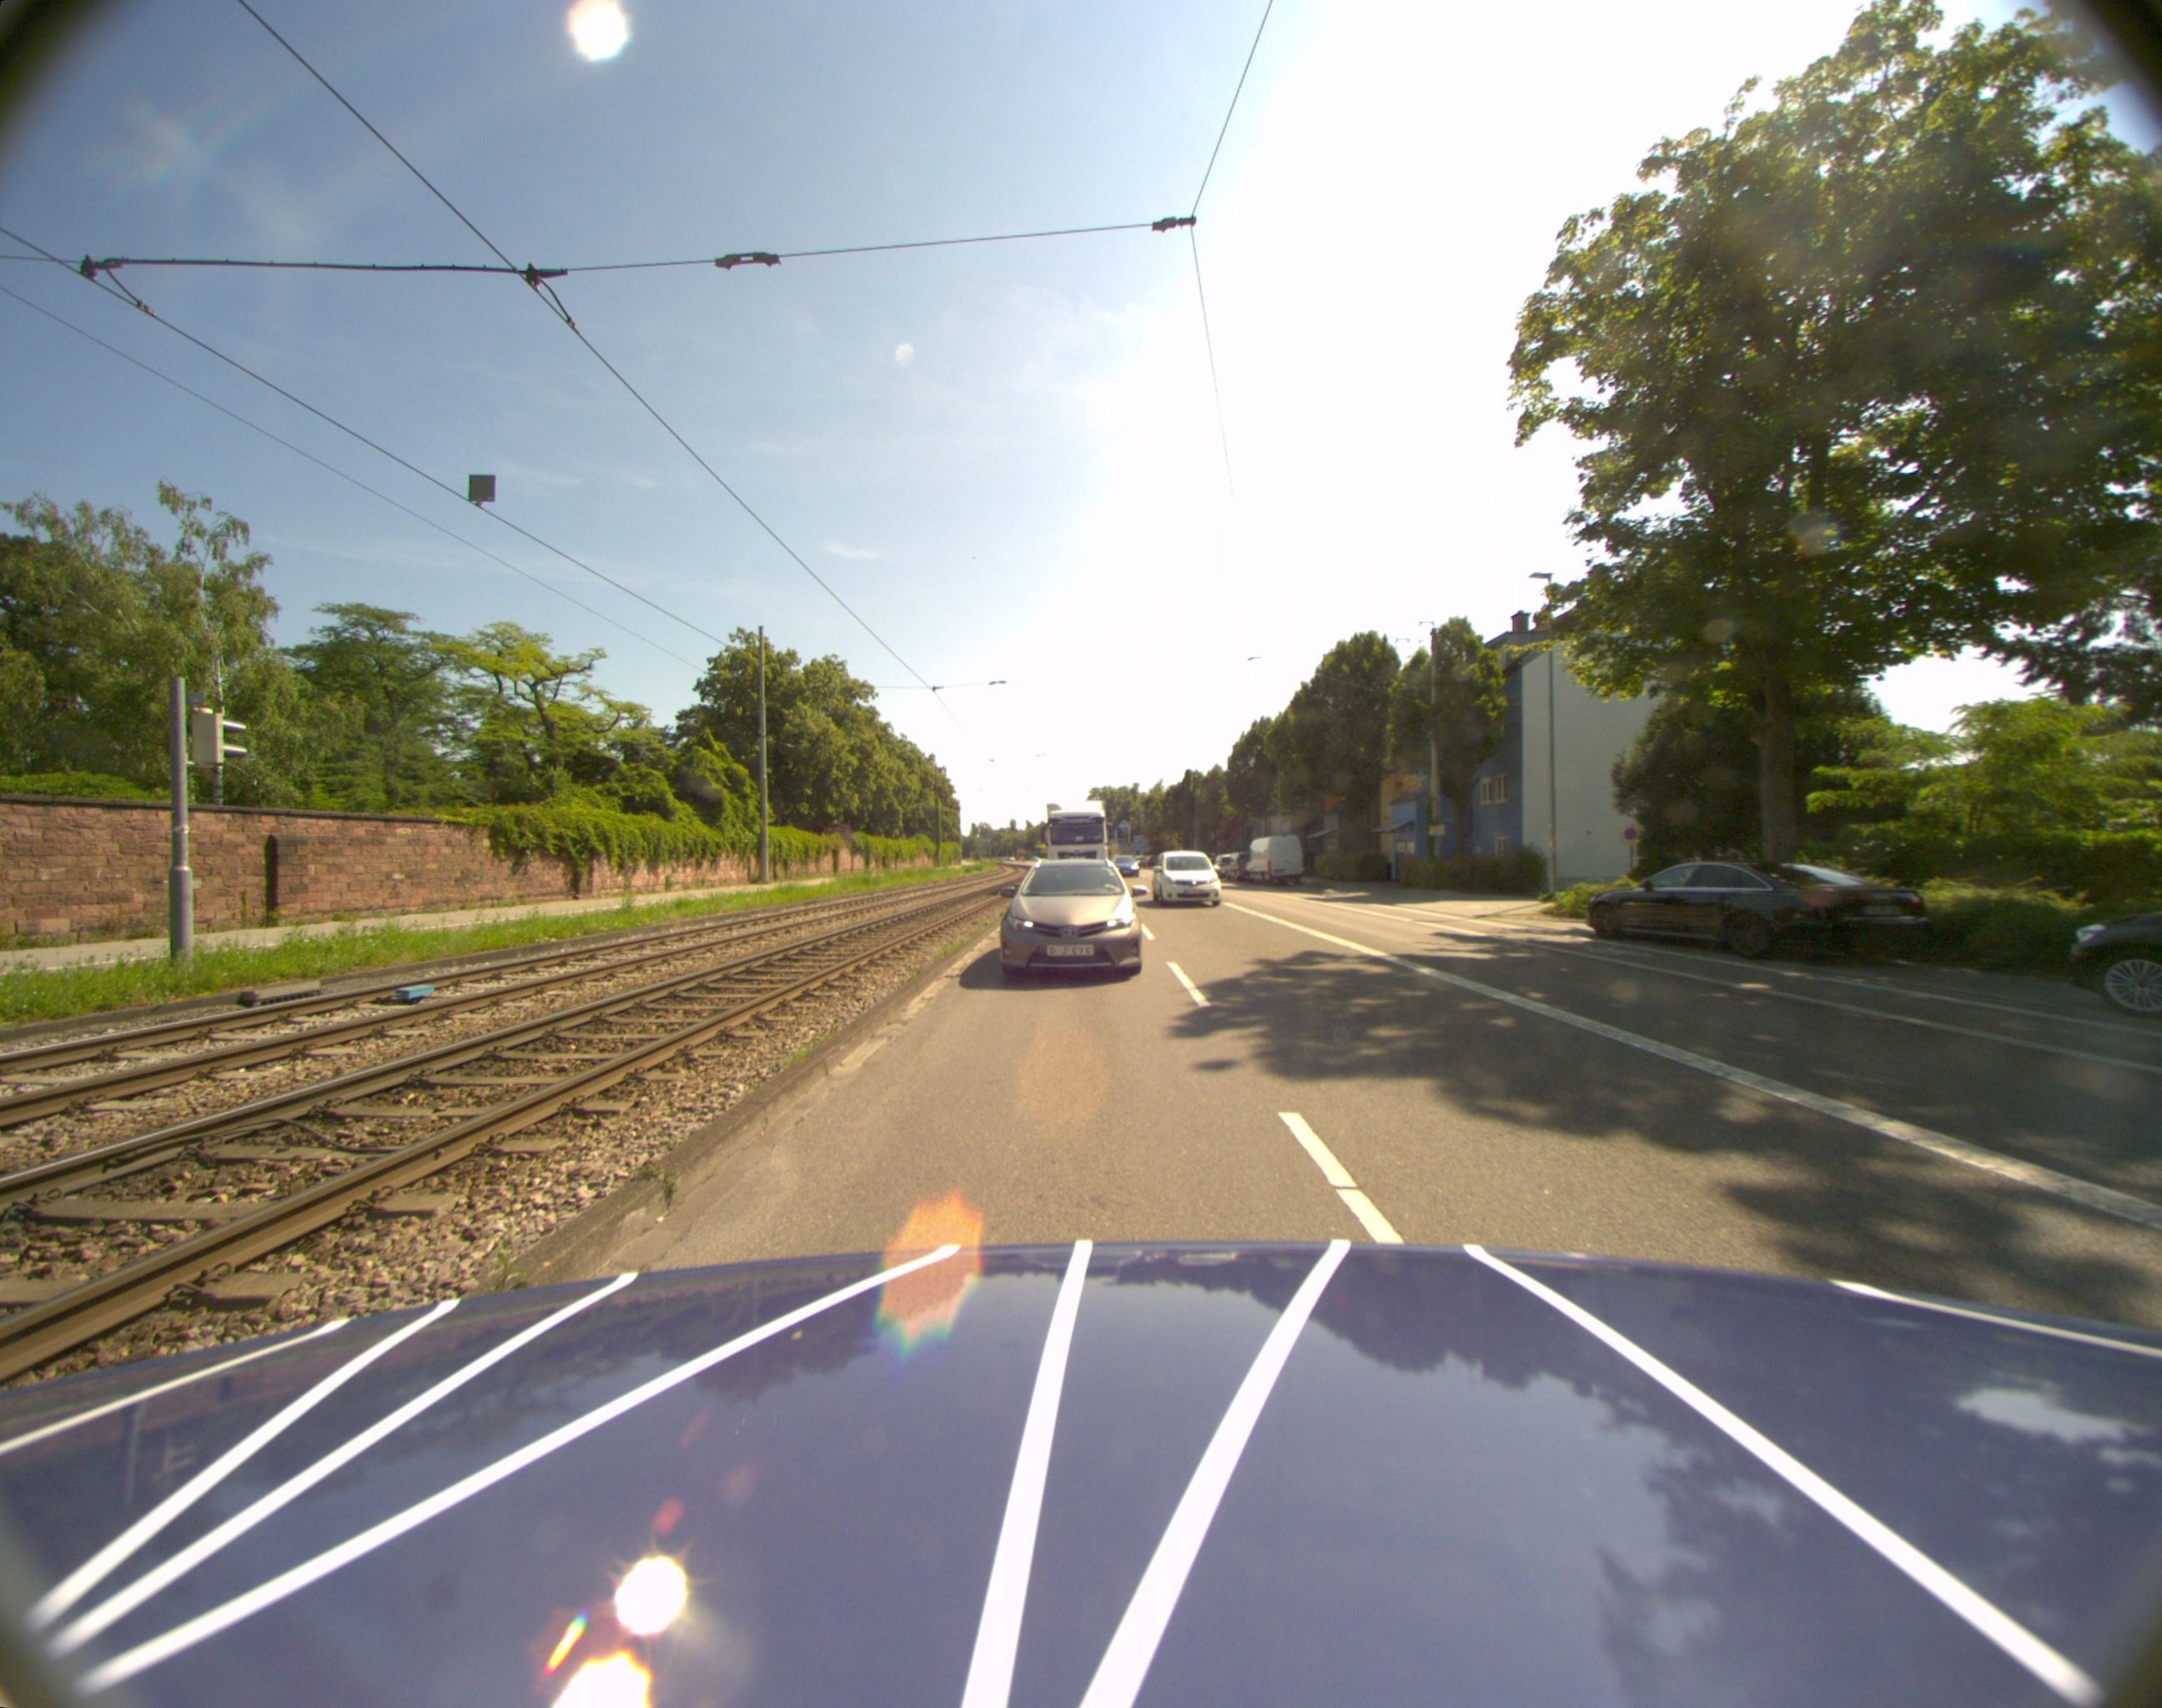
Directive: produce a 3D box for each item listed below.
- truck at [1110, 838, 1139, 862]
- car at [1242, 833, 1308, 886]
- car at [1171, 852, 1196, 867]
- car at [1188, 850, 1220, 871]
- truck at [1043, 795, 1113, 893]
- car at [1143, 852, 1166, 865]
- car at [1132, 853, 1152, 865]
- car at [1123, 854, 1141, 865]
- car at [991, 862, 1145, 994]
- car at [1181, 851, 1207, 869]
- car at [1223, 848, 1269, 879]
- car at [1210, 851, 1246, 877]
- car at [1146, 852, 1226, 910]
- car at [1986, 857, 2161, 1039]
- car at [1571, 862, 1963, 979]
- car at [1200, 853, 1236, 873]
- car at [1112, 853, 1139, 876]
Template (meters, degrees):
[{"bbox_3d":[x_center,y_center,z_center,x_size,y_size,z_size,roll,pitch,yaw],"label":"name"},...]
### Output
[{"bbox_3d":[6.629,-0.559,117.087,3.165,3.533,8.779,0,0,-6],"label":"truck"},{"bbox_3d":[10.991,0.276,43.606,1.998,2.661,7.086,-4,0,1],"label":"car"},{"bbox_3d":[10.644,0.593,79.099,1.681,1.462,4.212,-2,1,-4],"label":"car"},{"bbox_3d":[10.925,0.530,67.655,1.834,1.718,4.348,-3,1,-3],"label":"car"},{"bbox_3d":[-0.037,-0.418,36.551,2.805,3.926,11.943,0,0,1],"label":"truck"},{"bbox_3d":[9.403,0.575,97.164,1.911,1.567,4.929,-2,1,-6],"label":"car"},{"bbox_3d":[8.407,0.684,104.969,2.040,1.490,4.130,-2,1,-6],"label":"car"},{"bbox_3d":[7.359,0.779,109.413,1.915,1.469,4.213,-2,1,-6],"label":"car"},{"bbox_3d":[-0.122,0.887,11.304,1.747,1.421,5.041,-1,0,1],"label":"car"},{"bbox_3d":[10.780,0.527,72.720,1.681,1.598,4.164,-2,1,-3],"label":"car"},{"bbox_3d":[11.174,0.623,51.720,1.998,1.855,4.966,-5,0,1],"label":"car"},{"bbox_3d":[11.002,0.736,57.213,1.853,1.693,4.540,-4,1,1],"label":"car"},{"bbox_3d":[3.082,0.740,23.148,1.784,1.538,4.394,-2,0,0],"label":"car"},{"bbox_3d":[10.555,0.848,5.686,1.766,1.596,4.893,-1,0,0],"label":"car"},{"bbox_3d":[10.611,0.894,12.446,1.845,1.457,4.908,0,0,-3],"label":"car"},{"bbox_3d":[11.202,0.712,62.387,1.871,1.447,4.074,-4,1,-3],"label":"car"},{"bbox_3d":[3.097,0.695,53.004,1.659,1.517,3.792,0,0,0],"label":"car"}]
